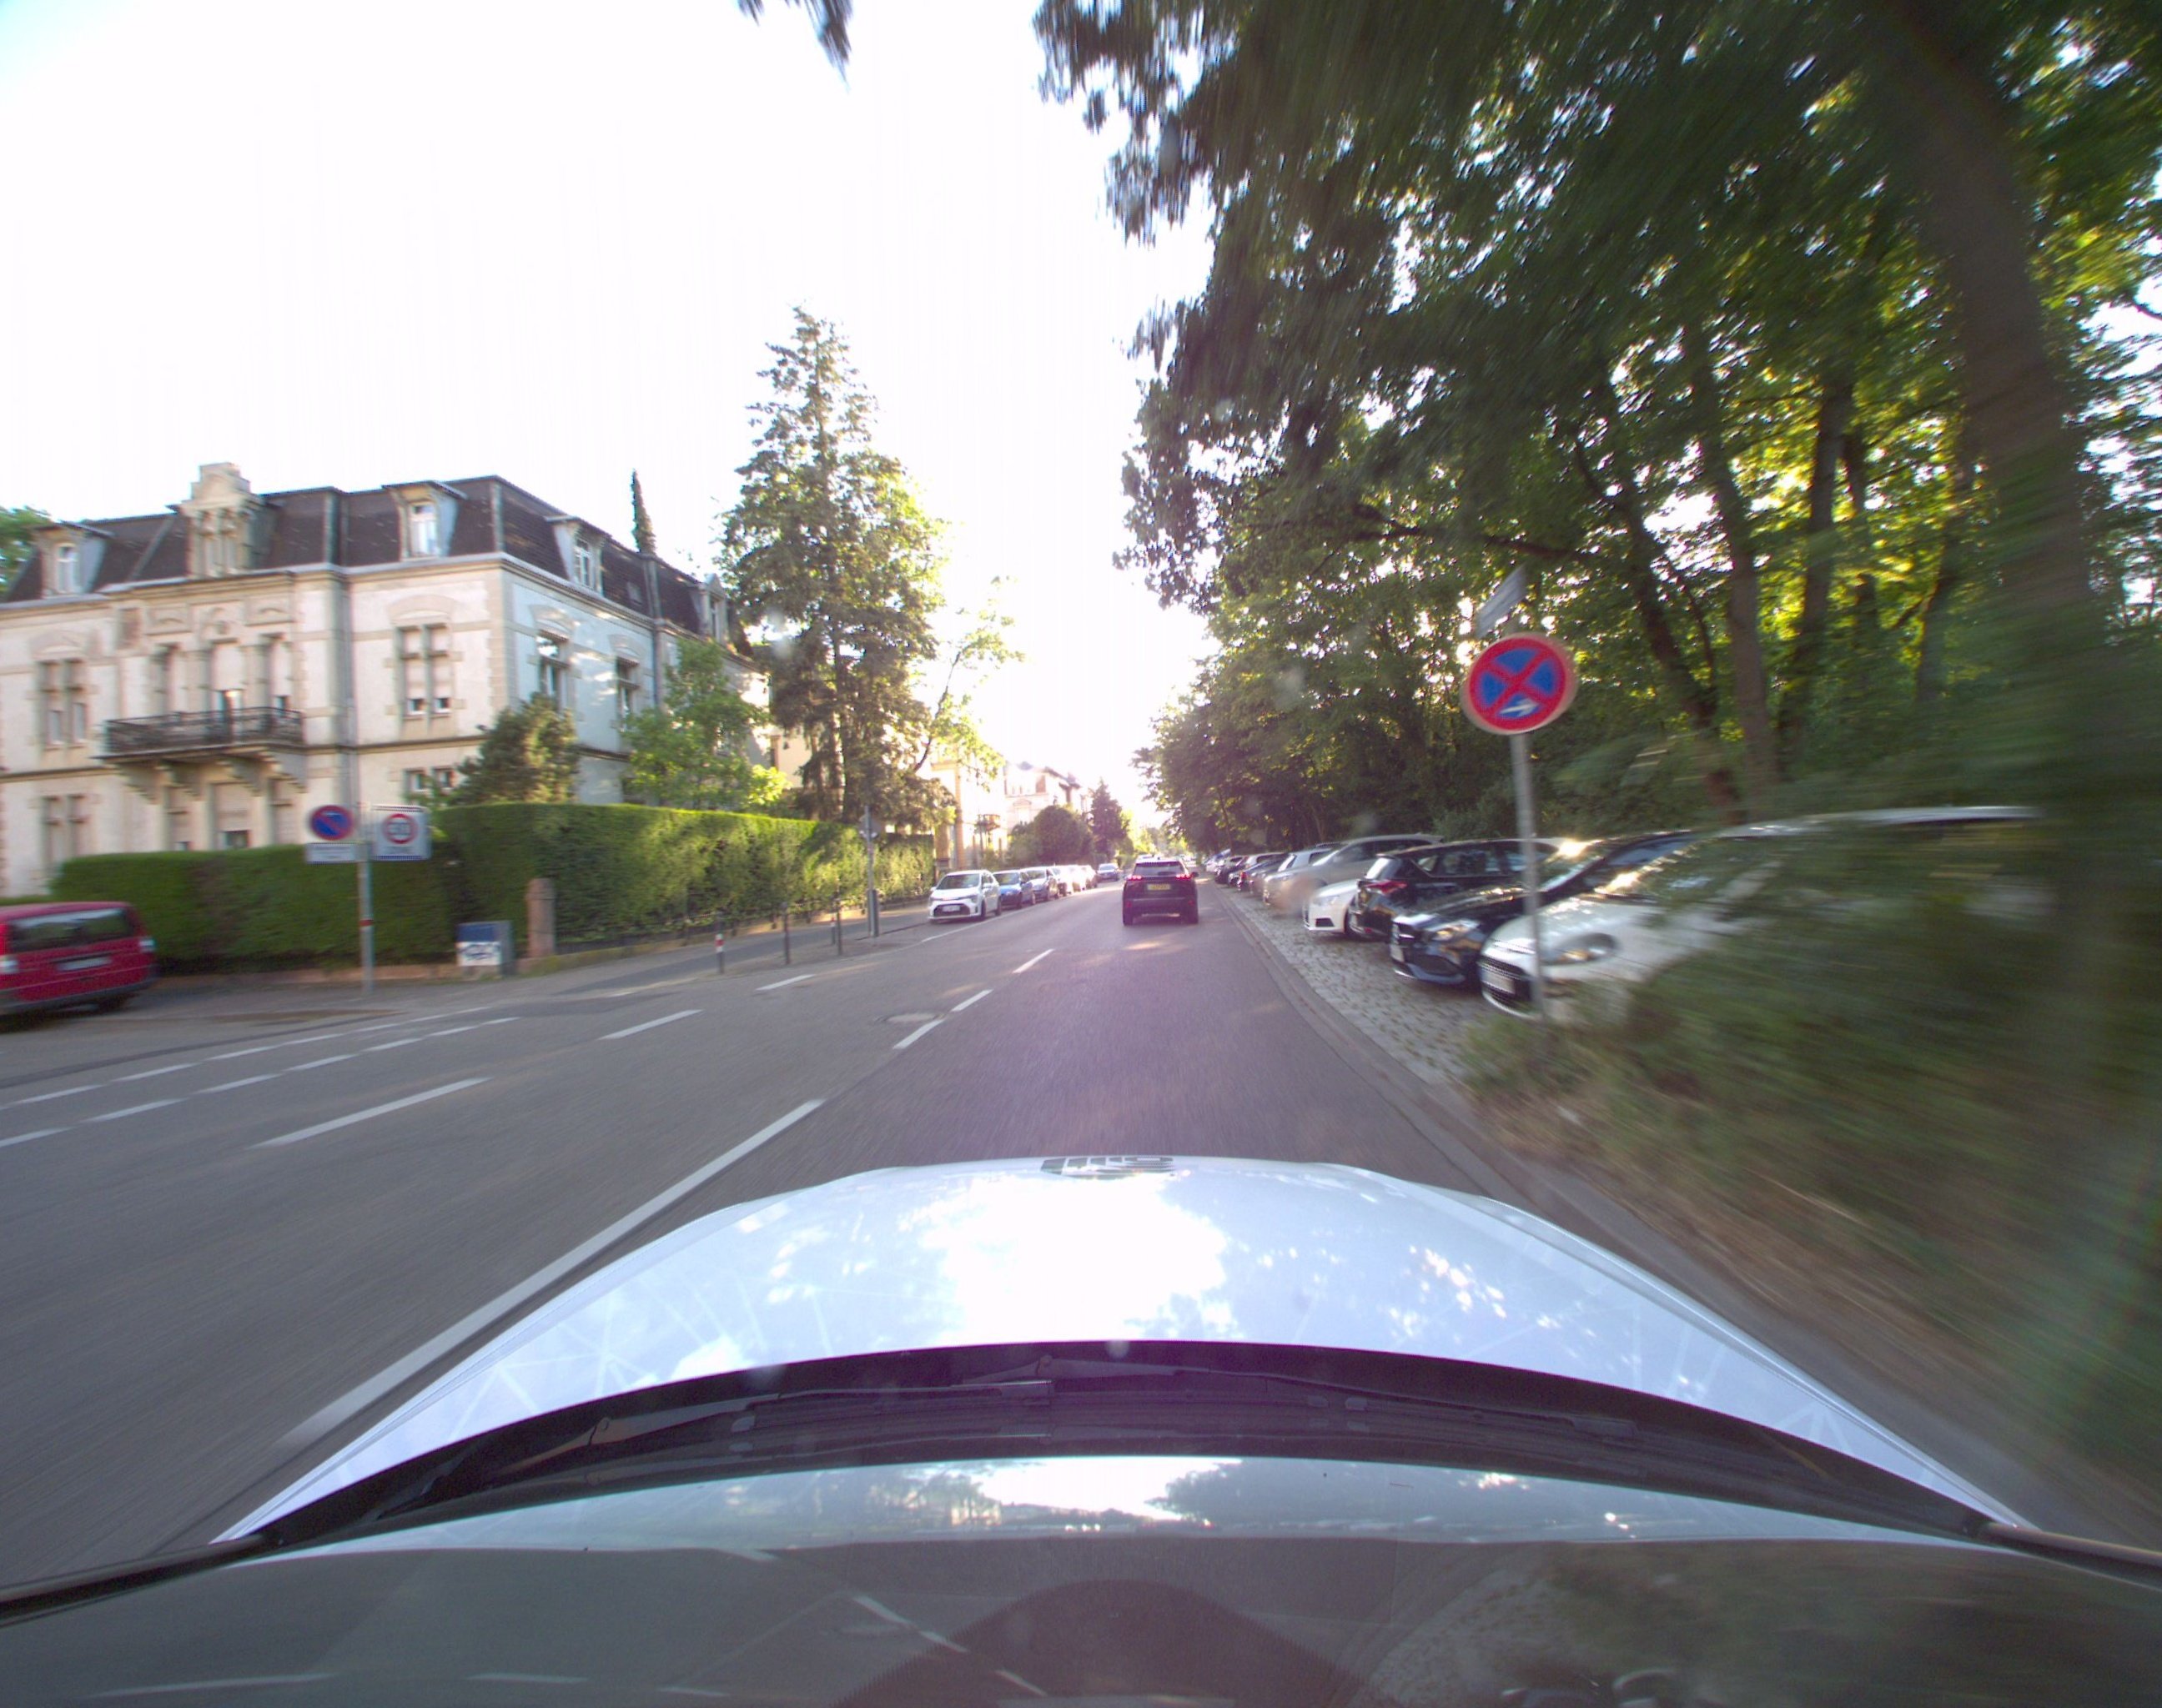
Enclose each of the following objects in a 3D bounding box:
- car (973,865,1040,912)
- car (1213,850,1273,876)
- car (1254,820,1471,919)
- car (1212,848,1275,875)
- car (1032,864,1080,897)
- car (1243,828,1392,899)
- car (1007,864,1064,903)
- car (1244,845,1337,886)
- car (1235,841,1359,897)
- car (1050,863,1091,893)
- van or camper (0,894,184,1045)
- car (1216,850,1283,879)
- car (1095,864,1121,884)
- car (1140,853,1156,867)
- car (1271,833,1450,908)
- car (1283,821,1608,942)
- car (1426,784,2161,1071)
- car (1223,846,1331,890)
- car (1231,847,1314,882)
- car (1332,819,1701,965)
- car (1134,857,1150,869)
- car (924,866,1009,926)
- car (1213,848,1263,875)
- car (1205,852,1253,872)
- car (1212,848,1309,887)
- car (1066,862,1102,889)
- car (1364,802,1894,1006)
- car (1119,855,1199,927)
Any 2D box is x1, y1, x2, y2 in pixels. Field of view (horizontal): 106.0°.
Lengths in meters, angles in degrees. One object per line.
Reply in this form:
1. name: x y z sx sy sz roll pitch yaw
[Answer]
1. car: -2.709 1.246 30.403 1.605 1.485 3.749 -4 -1 7
2. car: 11.621 0.615 58.528 3.971 1.624 1.759 -3 -1 2
3. car: 6.317 0.348 18.768 4.285 1.804 2.039 -5 -1 6
4. car: 11.187 0.527 56.288 3.971 1.624 1.759 -3 -1 2
5. car: -1.197 1.294 40.868 1.605 1.466 4.045 -4 -1 8
6. car: 7.498 0.312 26.172 4.222 1.789 1.887 -6 -1 7
7. car: -1.901 1.223 35.125 1.605 1.466 4.045 -4 -1 8
8. car: 9.235 0.518 36.104 3.784 1.448 1.831 -5 -1 10
9. car: 7.558 0.518 28.817 3.966 1.554 1.729 -6 -1 7
10. car: -0.548 1.325 46.181 1.605 1.466 4.045 -4 -1 8
11. van or camper: -17.971 1.900 13.295 4.740 1.985 2.006 -4 4 9
12. car: 10.524 0.629 51.046 3.792 1.448 1.828 -5 -1 3
13. car: 2.267 1.605 66.987 1.743 1.413 3.771 -6 0 6
14. car: 10.091 0.930 122.723 1.982 2.013 4.010 -3 -1 8
15. car: 7.003 0.411 20.769 3.965 1.554 1.729 -4 -1 7
16. car: 5.840 0.457 13.494 4.467 1.554 1.857 -4 -2 1
17. car: 4.868 0.473 5.918 3.965 1.554 1.729 -4 1 7
18. car: 8.085 0.582 33.876 4.131 1.448 1.736 -5 -1 10
19. car: 9.737 0.538 41.604 3.792 1.448 1.879 -5 -1 3
20. car: 5.641 0.474 11.011 3.965 1.554 1.756 -4 1 7
21. car: 8.473 1.254 112.507 1.889 1.574 4.008 -3 -1 7
22. car: -3.390 1.202 24.772 1.606 1.515 3.718 -6 -1 6
23. car: 13.546 0.638 70.432 3.971 2.089 1.759 -3 -1 2
24. car: 13.314 0.727 73.255 3.971 1.526 1.759 -3 -1 2
25. car: 8.492 0.622 38.929 4.222 1.448 2.024 -5 -1 5
26. car: 0.208 1.312 50.988 1.605 1.466 4.045 -4 -1 8
27. car: 5.088 0.452 8.086 3.965 1.554 1.729 -4 1 7
28. car: 1.890 0.835 20.332 1.764 1.568 4.113 -1 0 4
